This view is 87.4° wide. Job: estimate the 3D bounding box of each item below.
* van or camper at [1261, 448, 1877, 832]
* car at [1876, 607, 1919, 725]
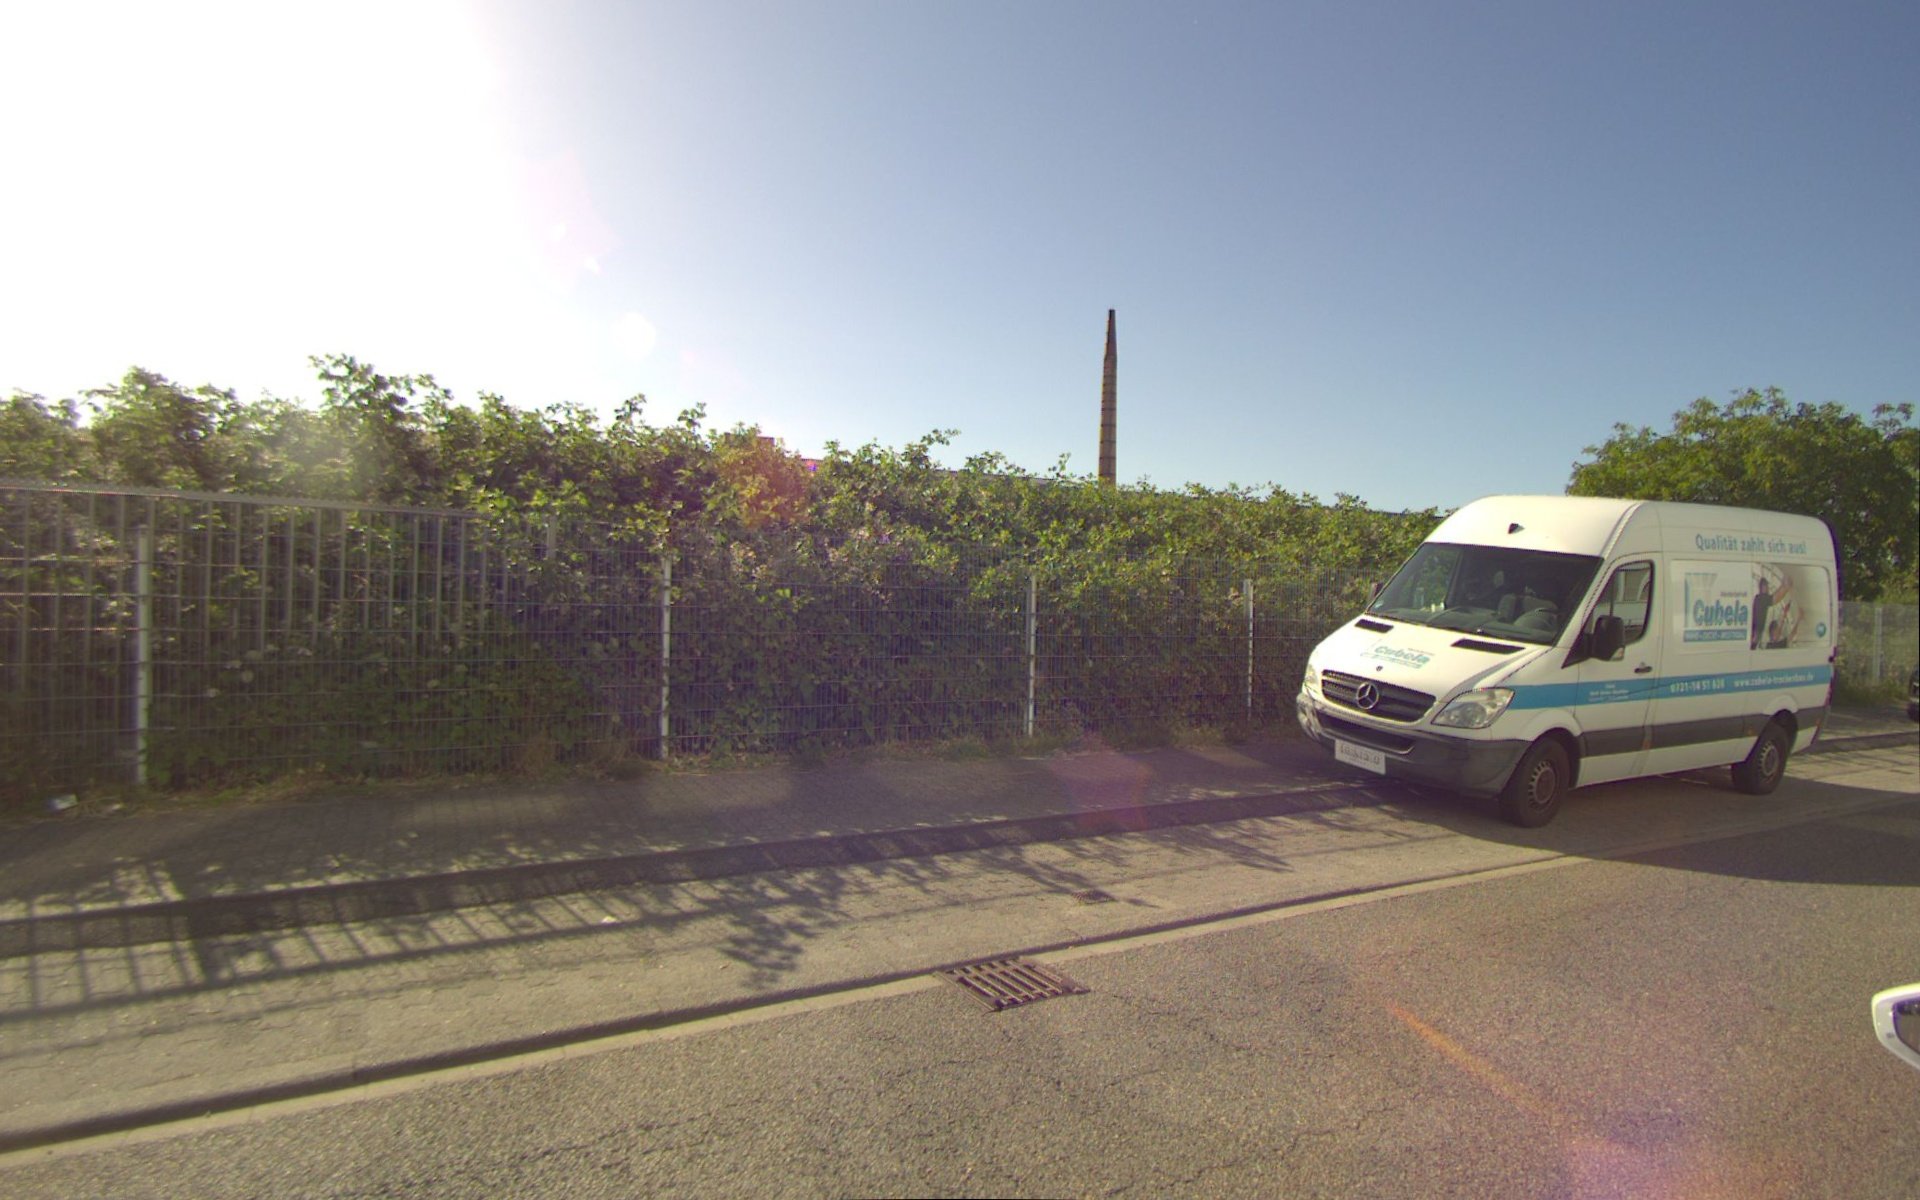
[{"bbox_3d":[5.774,0.268,9.313,5.874,2.722,1.957,1,6,-29],"label":"van or camper"},{"bbox_3d":[16.742,1.112,15.798,5.049,1.717,2.019,1,4,-32],"label":"car"}]
